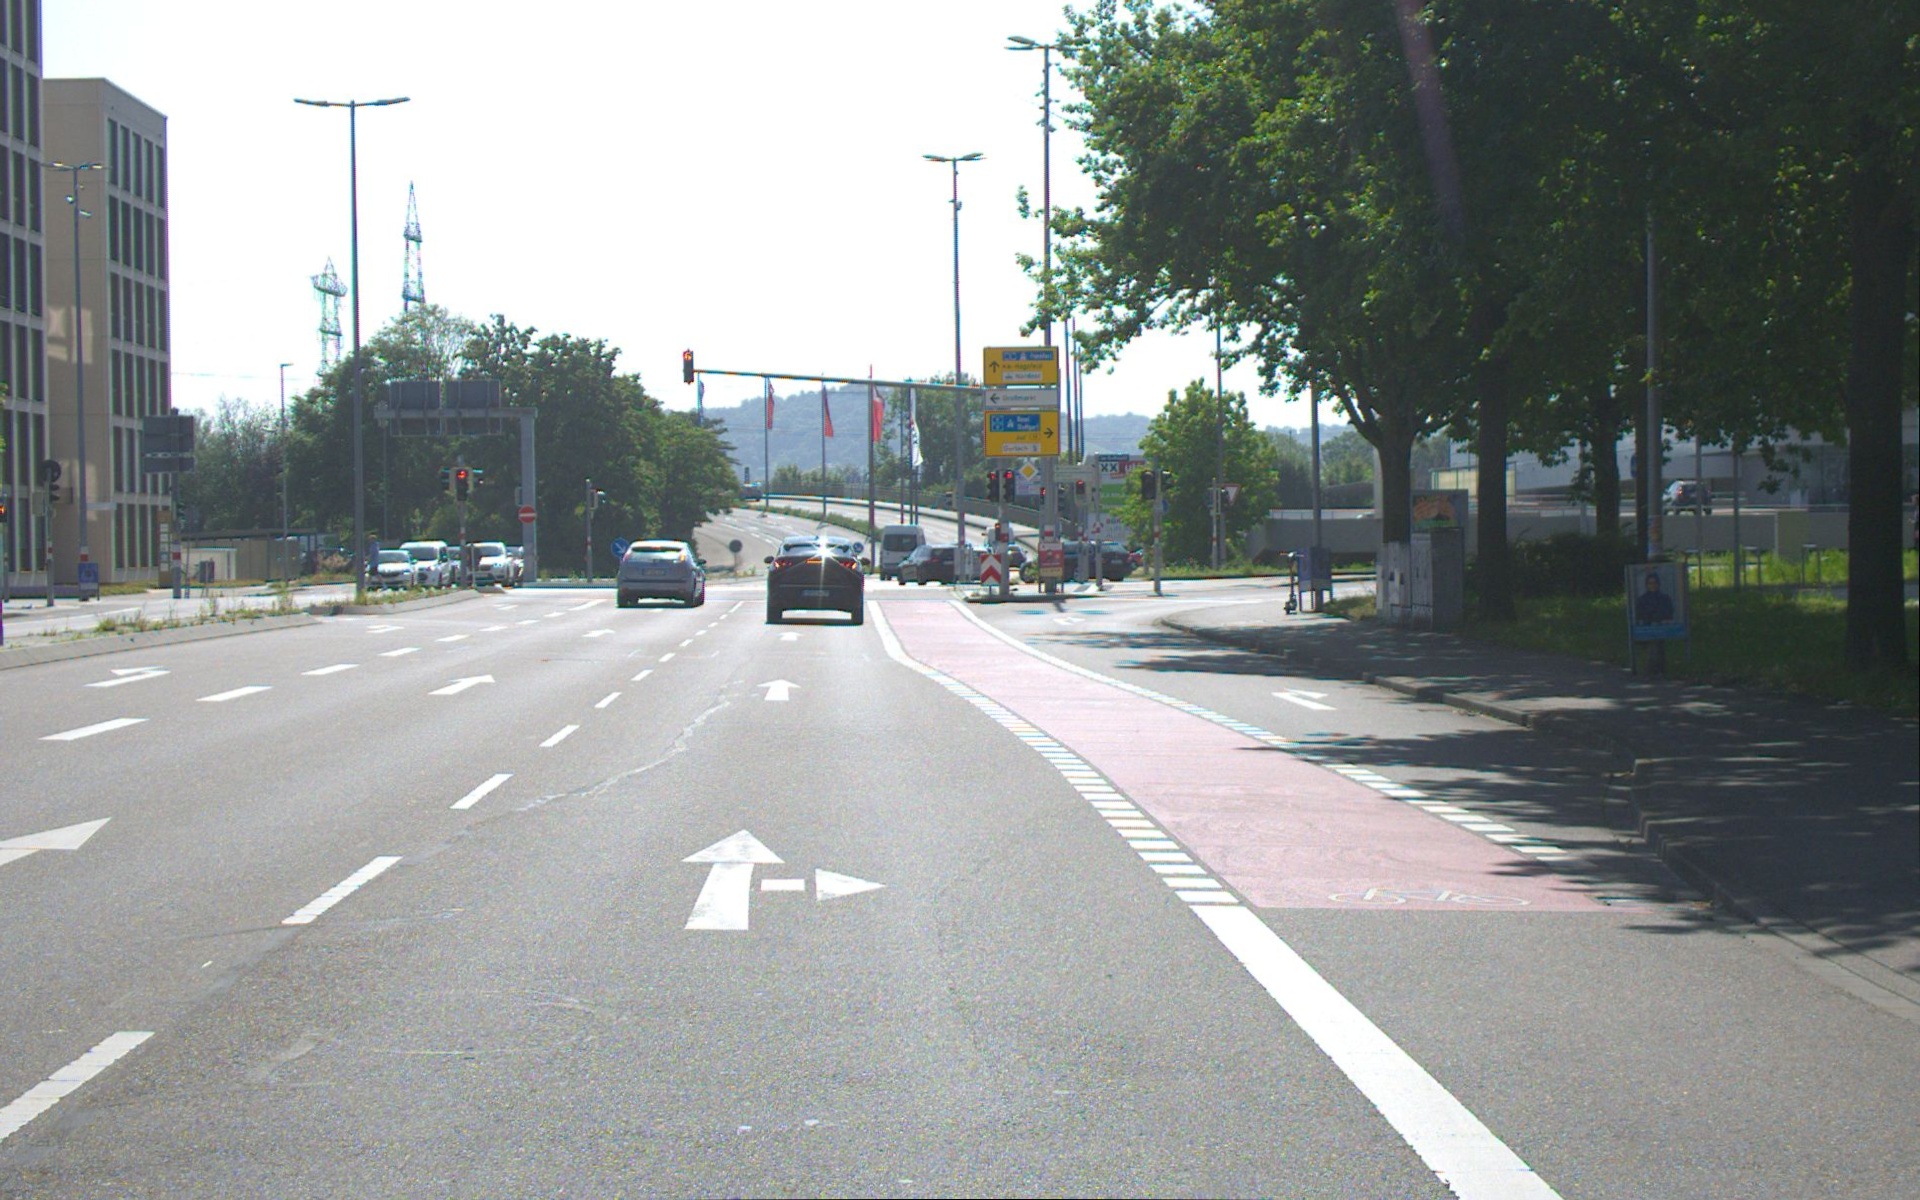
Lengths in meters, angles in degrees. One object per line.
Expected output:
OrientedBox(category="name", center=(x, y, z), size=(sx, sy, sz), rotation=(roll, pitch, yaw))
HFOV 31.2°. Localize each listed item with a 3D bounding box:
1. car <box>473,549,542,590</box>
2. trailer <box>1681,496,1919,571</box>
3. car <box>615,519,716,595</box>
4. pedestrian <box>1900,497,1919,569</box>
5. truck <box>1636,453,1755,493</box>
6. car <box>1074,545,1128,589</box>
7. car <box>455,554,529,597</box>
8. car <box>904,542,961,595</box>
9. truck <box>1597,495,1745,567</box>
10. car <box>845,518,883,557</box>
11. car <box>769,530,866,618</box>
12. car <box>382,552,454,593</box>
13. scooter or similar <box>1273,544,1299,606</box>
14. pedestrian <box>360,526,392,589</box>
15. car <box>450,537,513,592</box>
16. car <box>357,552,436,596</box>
OrientedBox(category="car", center=(-16.776, -1.130, 127.714), size=(1.816, 1.459, 4.000), rotation=(-1, 1, 3))
OrientedBox(category="trailer", center=(32.091, -2.346, 123.508), size=(11.871, 2.460, 2.000), rotation=(2, 2, 2))
OrientedBox(category="car", center=(-6.748, -1.001, 79.044), size=(1.993, 1.678, 4.000), rotation=(-1, 1, -1))
OrientedBox(category="pedestrian", center=(23.716, -1.658, 84.940), size=(0.627, 1.764, 0.805), rotation=(-1, 1, -12))
OrientedBox(category="truck", center=(39.610, -6.834, 185.170), size=(5.909, 2.006, 2.000), rotation=(2, 2, 1))
OrientedBox(category="car", center=(4.873, -1.158, 119.377), size=(1.689, 1.354, 4.000), rotation=(2, 2, 0))
OrientedBox(category="car", center=(-16.424, -0.875, 120.747), size=(1.816, 1.459, 4.000), rotation=(-1, 1, 3))
OrientedBox(category="car", center=(-1.005, -1.150, 123.933), size=(1.757, 1.752, 3.604), rotation=(1, 2, -4))
OrientedBox(category="truck", center=(25.539, -2.505, 123.662), size=(4.881, 2.415, 2.000), rotation=(2, 2, 2))
OrientedBox(category="car", center=(-5.275, -3.420, 188.773), size=(1.993, 2.006, 3.981), rotation=(2, 2, -1))
OrientedBox(category="car", center=(-2.750, -0.532, 66.841), size=(1.807, 1.634, 4.459), rotation=(-1, 1, -2))
OrientedBox(category="car", center=(-19.982, -1.032, 126.848), size=(1.816, 1.459, 4.000), rotation=(-1, 1, 3))
OrientedBox(category="scooter or similar", center=(6.569, -0.512, 69.223), size=(0.351, 1.229, 1.310), rotation=(-1, 1, 12))
OrientedBox(category="pedestrian", center=(-19.071, -1.398, 112.266), size=(0.756, 2.006, 0.934), rotation=(1, 2, -26))
OrientedBox(category="car", center=(-12.498, -0.934, 89.826), size=(1.215, 1.326, 2.800), rotation=(2, 2, 0))
OrientedBox(category="car", center=(-19.569, -0.907, 119.513), size=(1.892, 1.459, 4.000), rotation=(-1, 1, 3))
